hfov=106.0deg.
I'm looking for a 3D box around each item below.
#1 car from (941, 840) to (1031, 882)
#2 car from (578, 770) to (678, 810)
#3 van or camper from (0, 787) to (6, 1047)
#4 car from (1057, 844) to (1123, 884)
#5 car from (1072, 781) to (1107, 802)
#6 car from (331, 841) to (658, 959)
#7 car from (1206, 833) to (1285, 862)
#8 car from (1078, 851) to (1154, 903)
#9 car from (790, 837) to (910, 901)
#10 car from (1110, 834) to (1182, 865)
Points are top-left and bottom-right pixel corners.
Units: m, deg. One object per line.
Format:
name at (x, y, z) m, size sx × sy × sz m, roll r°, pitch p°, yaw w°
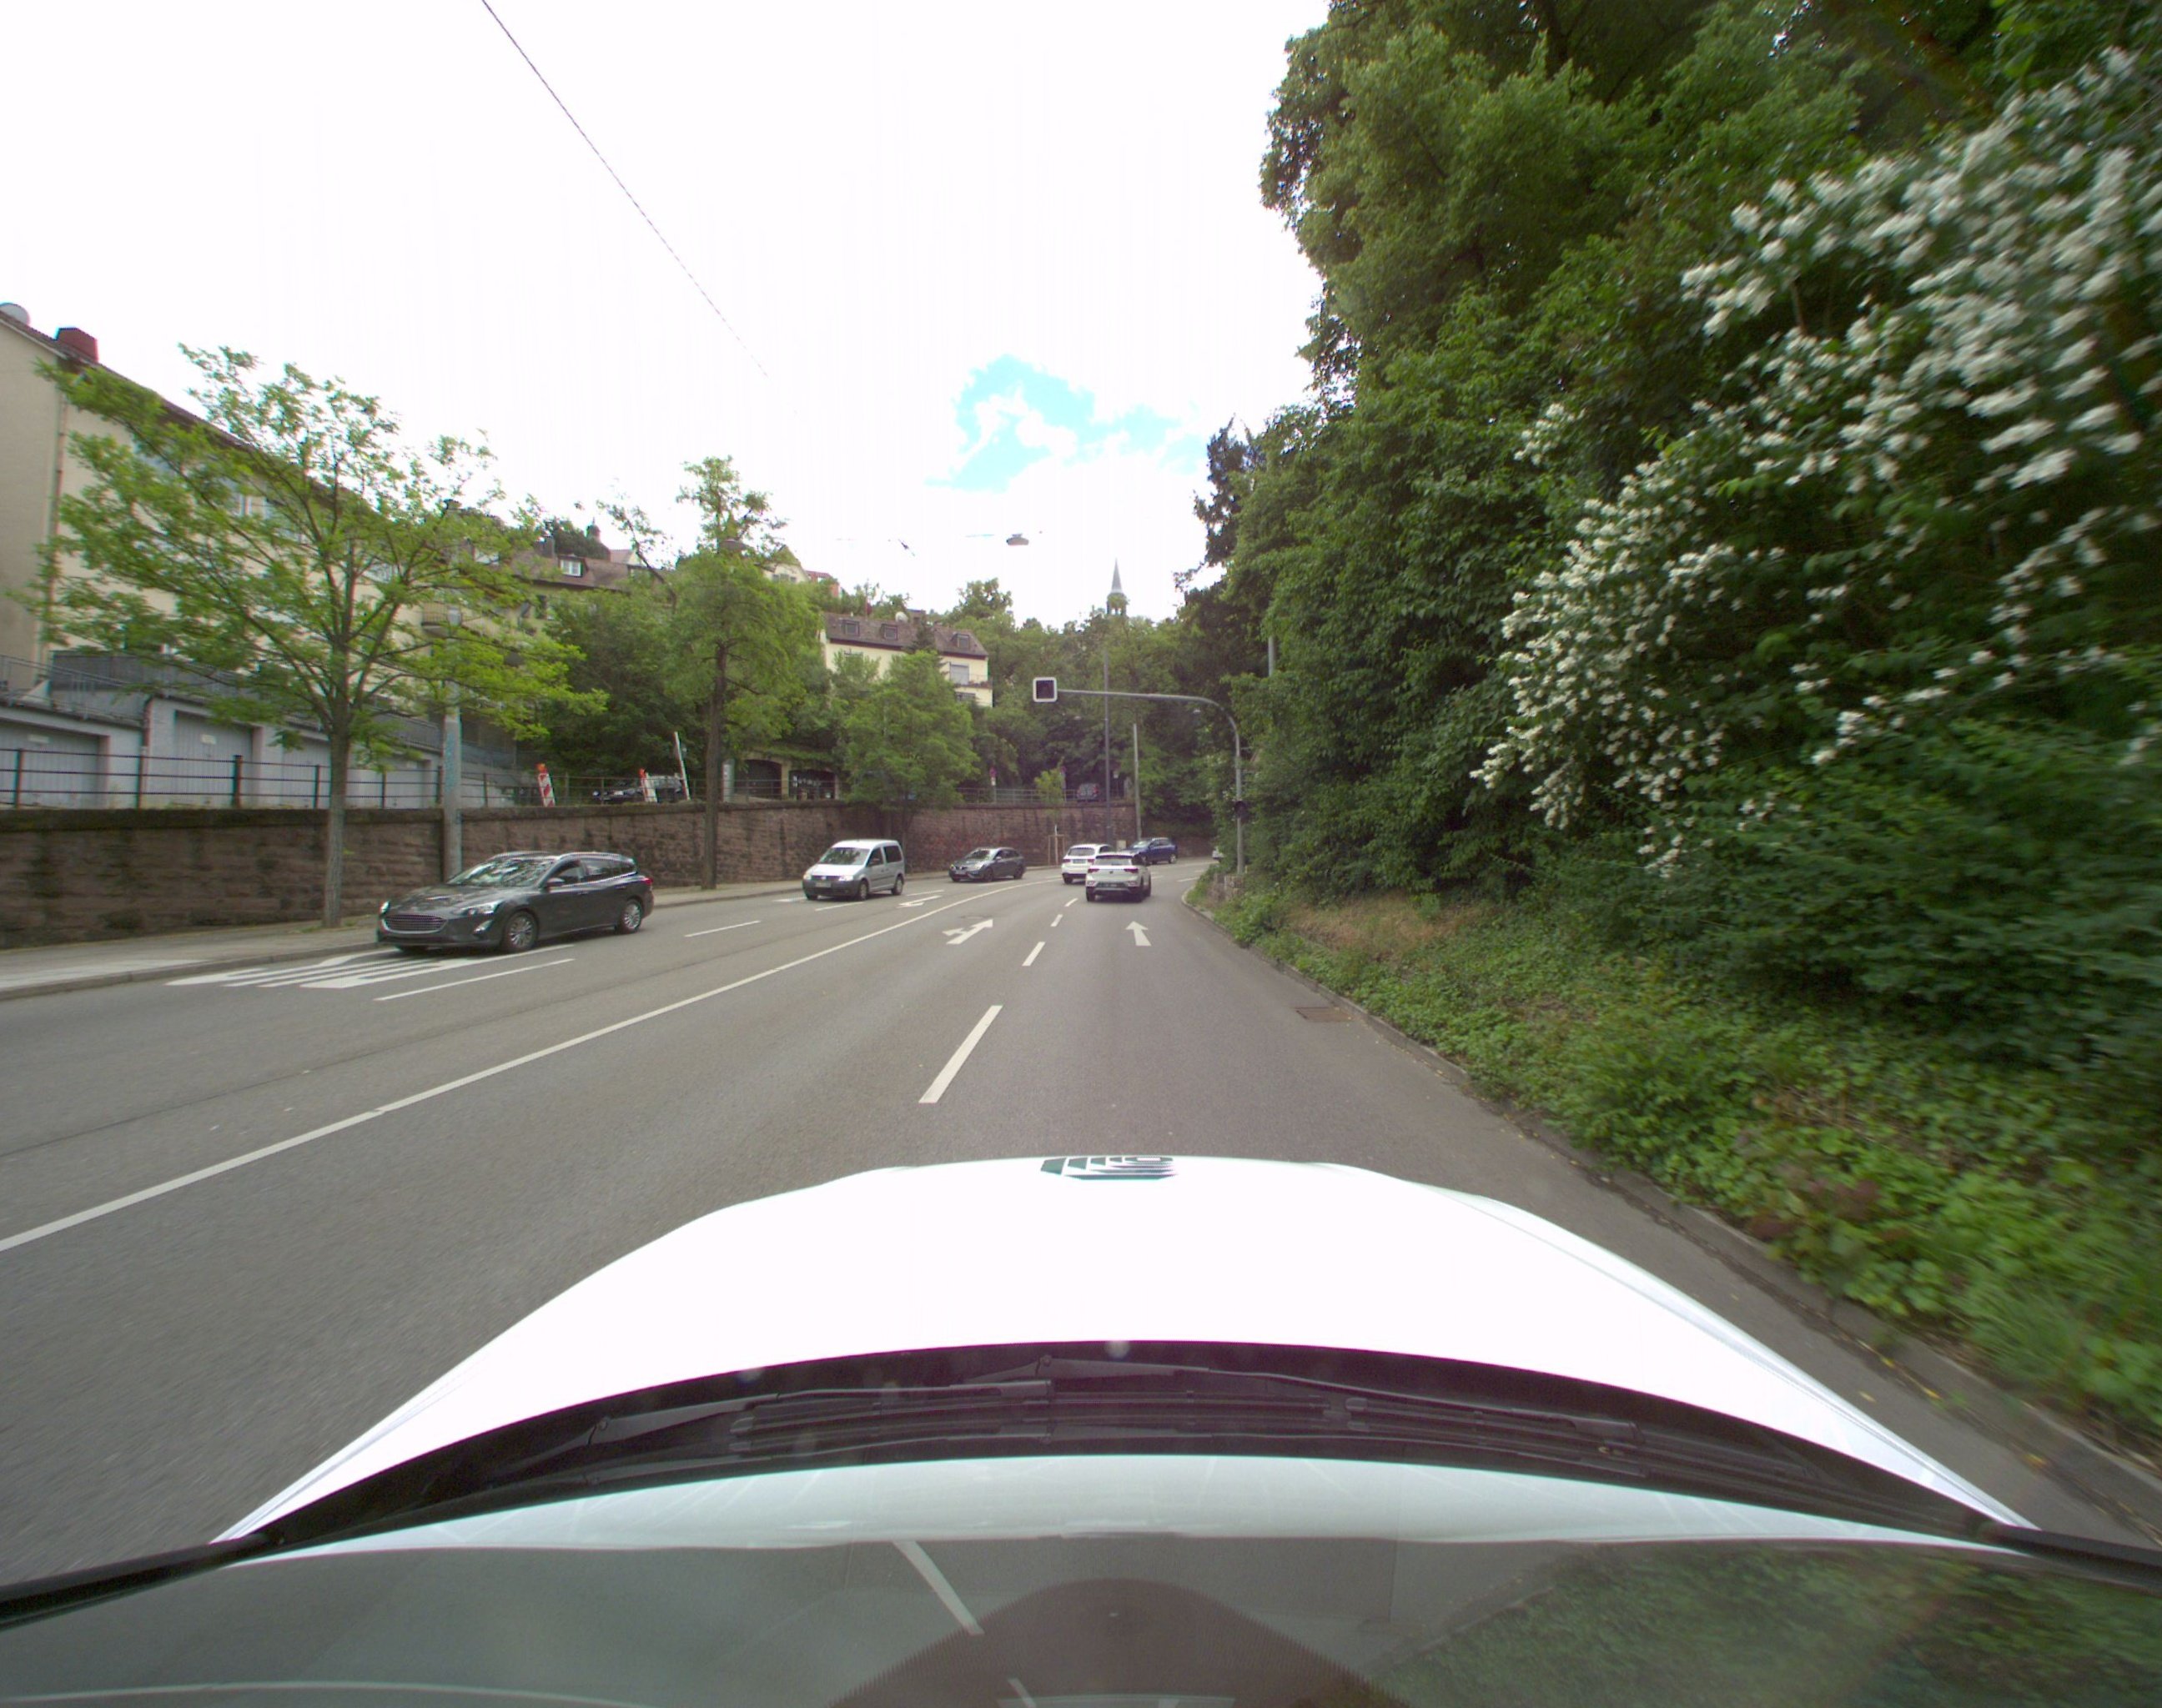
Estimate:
car at (-4.132, 0.260, 36.008) m, size 1.928 × 1.693 × 4.311 m, roll 1°, pitch 1°, yaw 26°
car at (-18.789, -2.627, 33.956) m, size 1.540 × 1.279 × 3.612 m, roll -3°, pitch 0°, yaw 13°
van or camper at (-9.550, 0.504, 3.610) m, size 1.985 × 2.013 × 5.567 m, roll -1°, pitch 0°, yaw 4°
car at (0.466, 0.400, 35.477) m, size 1.863 × 1.652 × 4.358 m, roll 0°, pitch 0°, yaw 14°
car at (0.723, -4.882, 63.866) m, size 1.980 × 1.485 × 4.015 m, roll -2°, pitch 3°, yaw 12°
car at (-9.186, 0.640, 13.343) m, size 1.984 × 1.618 × 4.335 m, roll 0°, pitch 0°, yaw 5°
car at (9.590, -0.371, 47.327) m, size 4.329 × 1.519 × 2.228 m, roll -2°, pitch 0°, yaw -40°
car at (1.241, 0.704, 26.788) m, size 1.852 × 1.556 × 3.907 m, roll 0°, pitch 0°, yaw 12°
car at (-7.063, 0.425, 25.430) m, size 1.934 × 1.798 × 4.296 m, roll 1°, pitch 0°, yaw 9°
car at (3.911, -0.272, 48.891) m, size 4.019 × 1.684 × 1.977 m, roll -2°, pitch 0°, yaw -38°
